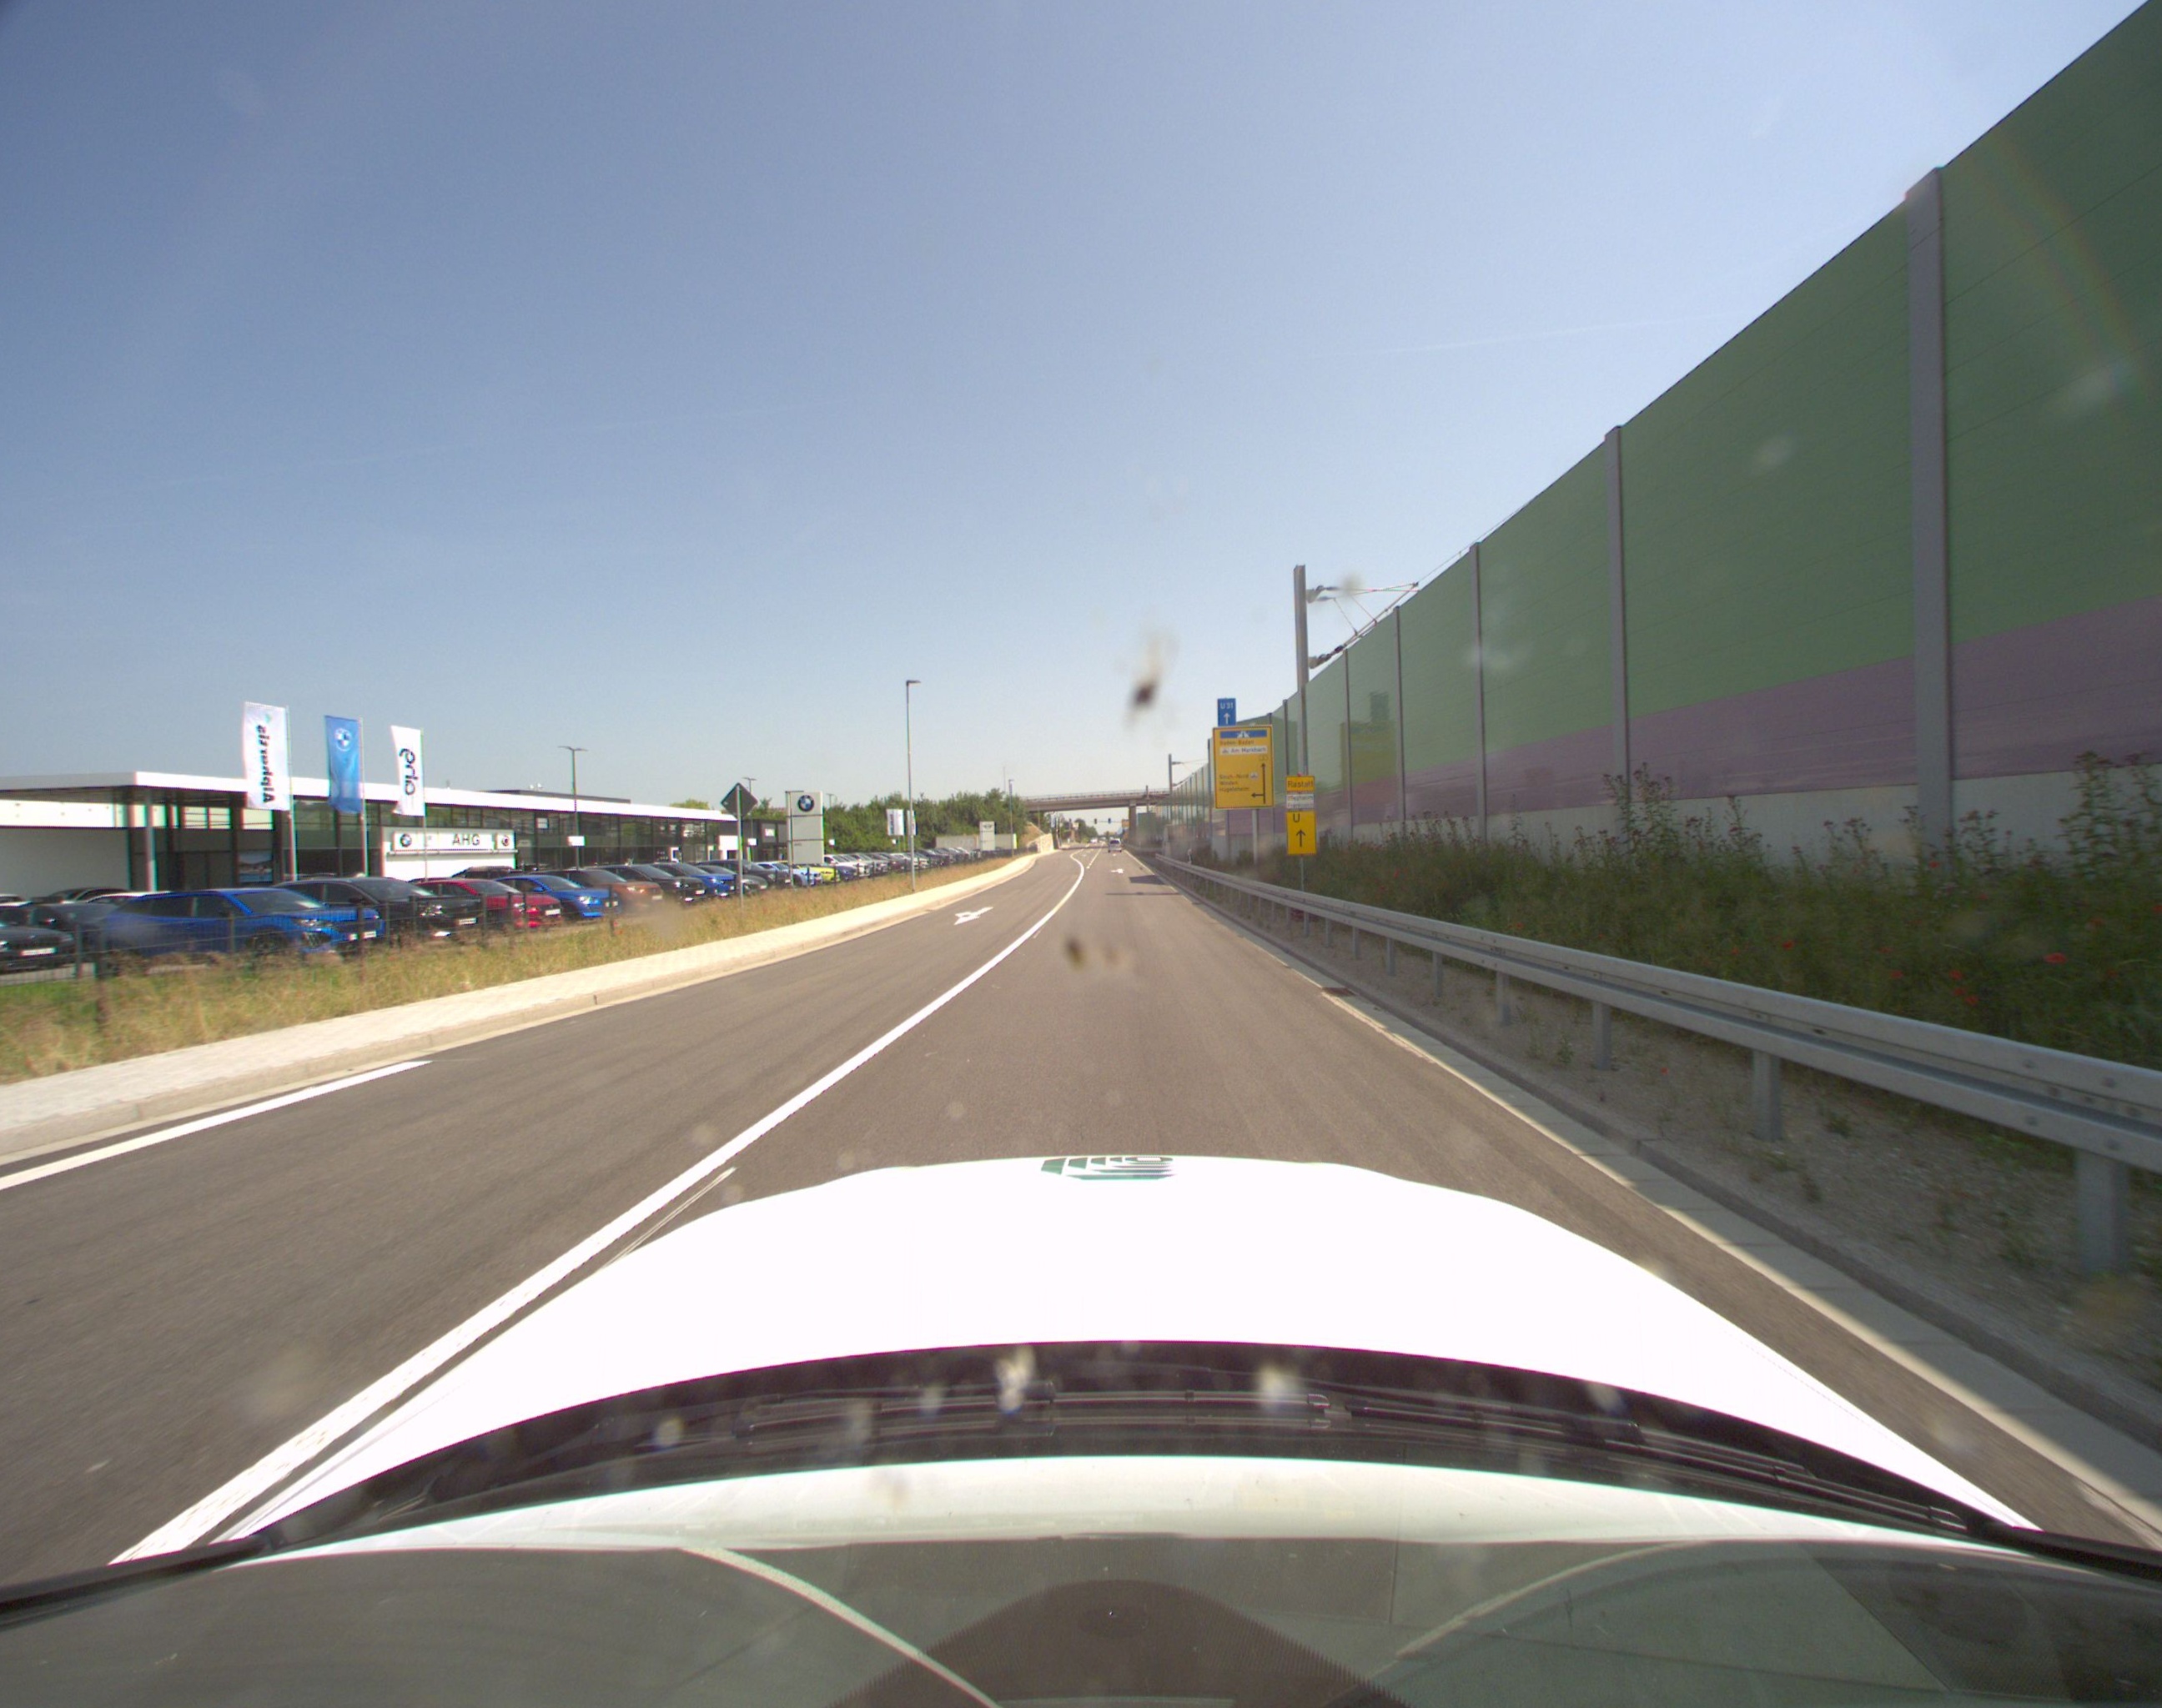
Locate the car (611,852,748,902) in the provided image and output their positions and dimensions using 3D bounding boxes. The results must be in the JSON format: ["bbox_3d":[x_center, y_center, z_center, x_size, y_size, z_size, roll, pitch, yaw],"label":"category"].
[{"bbox_3d":[-14.783,0.825,30.170,3.974,1.534,1.972,-3,2,0],"label":"car"}]

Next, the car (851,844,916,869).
[{"bbox_3d":[-14.225,0.194,58.808,4.148,1.544,1.817,-3,2,2],"label":"car"}]

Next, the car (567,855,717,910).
[{"bbox_3d":[-14.813,0.932,27.649,3.974,1.534,1.815,-3,2,0],"label":"car"}]

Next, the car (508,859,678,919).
[{"bbox_3d":[-14.913,1.043,25.067,3.974,1.494,1.915,-3,2,0],"label":"car"}]

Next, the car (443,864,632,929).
[{"bbox_3d":[-15.052,1.149,22.715,3.974,1.444,1.786,-3,2,0],"label":"car"}]

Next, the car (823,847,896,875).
[{"bbox_3d":[-14.601,0.461,53.820,4.148,1.544,1.817,-3,2,2],"label":"car"}]

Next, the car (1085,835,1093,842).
[{"bbox_3d":[2.356,-4.399,232.779,1.986,1.926,4.002,-3,1,2],"label":"car"}]

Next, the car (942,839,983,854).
[{"bbox_3d":[-13.150,-0.870,90.746,4.148,1.466,1.817,-3,2,2],"label":"car"}]

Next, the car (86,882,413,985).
[{"bbox_3d":[-15.269,1.417,15.146,3.974,1.480,1.911,-3,2,0],"label":"car"}]

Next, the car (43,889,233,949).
[{"bbox_3d":[-30.908,2.096,26.783,3.974,1.586,1.815,-3,2,0],"label":"car"}]

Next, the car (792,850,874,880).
[{"bbox_3d":[-14.658,0.644,48.280,4.148,1.466,1.817,-3,2,2],"label":"car"}]

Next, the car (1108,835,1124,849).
[{"bbox_3d":[4.662,-1.559,107.563,1.985,1.757,4.005,-2,2,4],"label":"car"}]

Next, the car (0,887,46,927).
[{"bbox_3d":[-44.751,2.216,32.617,4.317,1.480,1.627,-3,2,-1],"label":"car"}]

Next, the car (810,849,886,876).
[{"bbox_3d":[-14.622,0.523,51.204,4.148,1.466,1.817,-3,2,2],"label":"car"}]

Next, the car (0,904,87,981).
[{"bbox_3d":[-24.678,2.003,17.617,3.974,1.480,1.815,-3,2,0],"label":"car"}]

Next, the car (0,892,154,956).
[{"bbox_3d":[-30.825,2.101,24.374,3.977,1.593,1.676,-3,2,-3],"label":"car"}]

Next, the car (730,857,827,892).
[{"bbox_3d":[-14.882,0.991,40.170,3.971,1.391,1.880,-3,2,2],"label":"car"}]

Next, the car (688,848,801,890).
[{"bbox_3d":[-14.611,0.631,35.546,3.974,1.572,2.054,-3,2,0],"label":"car"}]

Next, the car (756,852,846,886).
[{"bbox_3d":[-14.698,0.784,42.856,3.971,1.534,1.817,-3,2,2],"label":"car"}]

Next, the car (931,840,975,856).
[{"bbox_3d":[-13.351,-0.664,85.030,4.148,1.466,1.817,-3,2,2],"label":"car"}]

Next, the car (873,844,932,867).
[{"bbox_3d":[-14.081,0.078,64.276,4.148,1.544,1.817,-3,2,2],"label":"car"}]

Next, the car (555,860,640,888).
[{"bbox_3d":[-30.238,1.246,51.026,4.148,1.466,1.817,-3,2,2],"label":"car"}]

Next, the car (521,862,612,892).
[{"bbox_3d":[-30.552,1.350,48.425,4.148,1.466,1.817,-3,2,2],"label":"car"}]

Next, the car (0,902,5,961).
[{"bbox_3d":[-31.196,2.230,21.145,3.977,1.593,1.676,-3,2,-3],"label":"car"}]

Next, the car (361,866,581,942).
[{"bbox_3d":[-15.039,1.203,20.238,3.974,1.528,1.815,-3,2,0],"label":"car"}]

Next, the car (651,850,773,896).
[{"bbox_3d":[-14.729,0.743,32.651,3.974,1.534,1.815,-3,2,0],"label":"car"}]

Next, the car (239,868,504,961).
[{"bbox_3d":[-15.163,1.256,17.572,3.974,1.635,1.815,-3,2,0],"label":"car"}]

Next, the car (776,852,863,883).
[{"bbox_3d":[-14.576,0.736,45.495,4.148,1.466,1.817,-3,2,2],"label":"car"}]
